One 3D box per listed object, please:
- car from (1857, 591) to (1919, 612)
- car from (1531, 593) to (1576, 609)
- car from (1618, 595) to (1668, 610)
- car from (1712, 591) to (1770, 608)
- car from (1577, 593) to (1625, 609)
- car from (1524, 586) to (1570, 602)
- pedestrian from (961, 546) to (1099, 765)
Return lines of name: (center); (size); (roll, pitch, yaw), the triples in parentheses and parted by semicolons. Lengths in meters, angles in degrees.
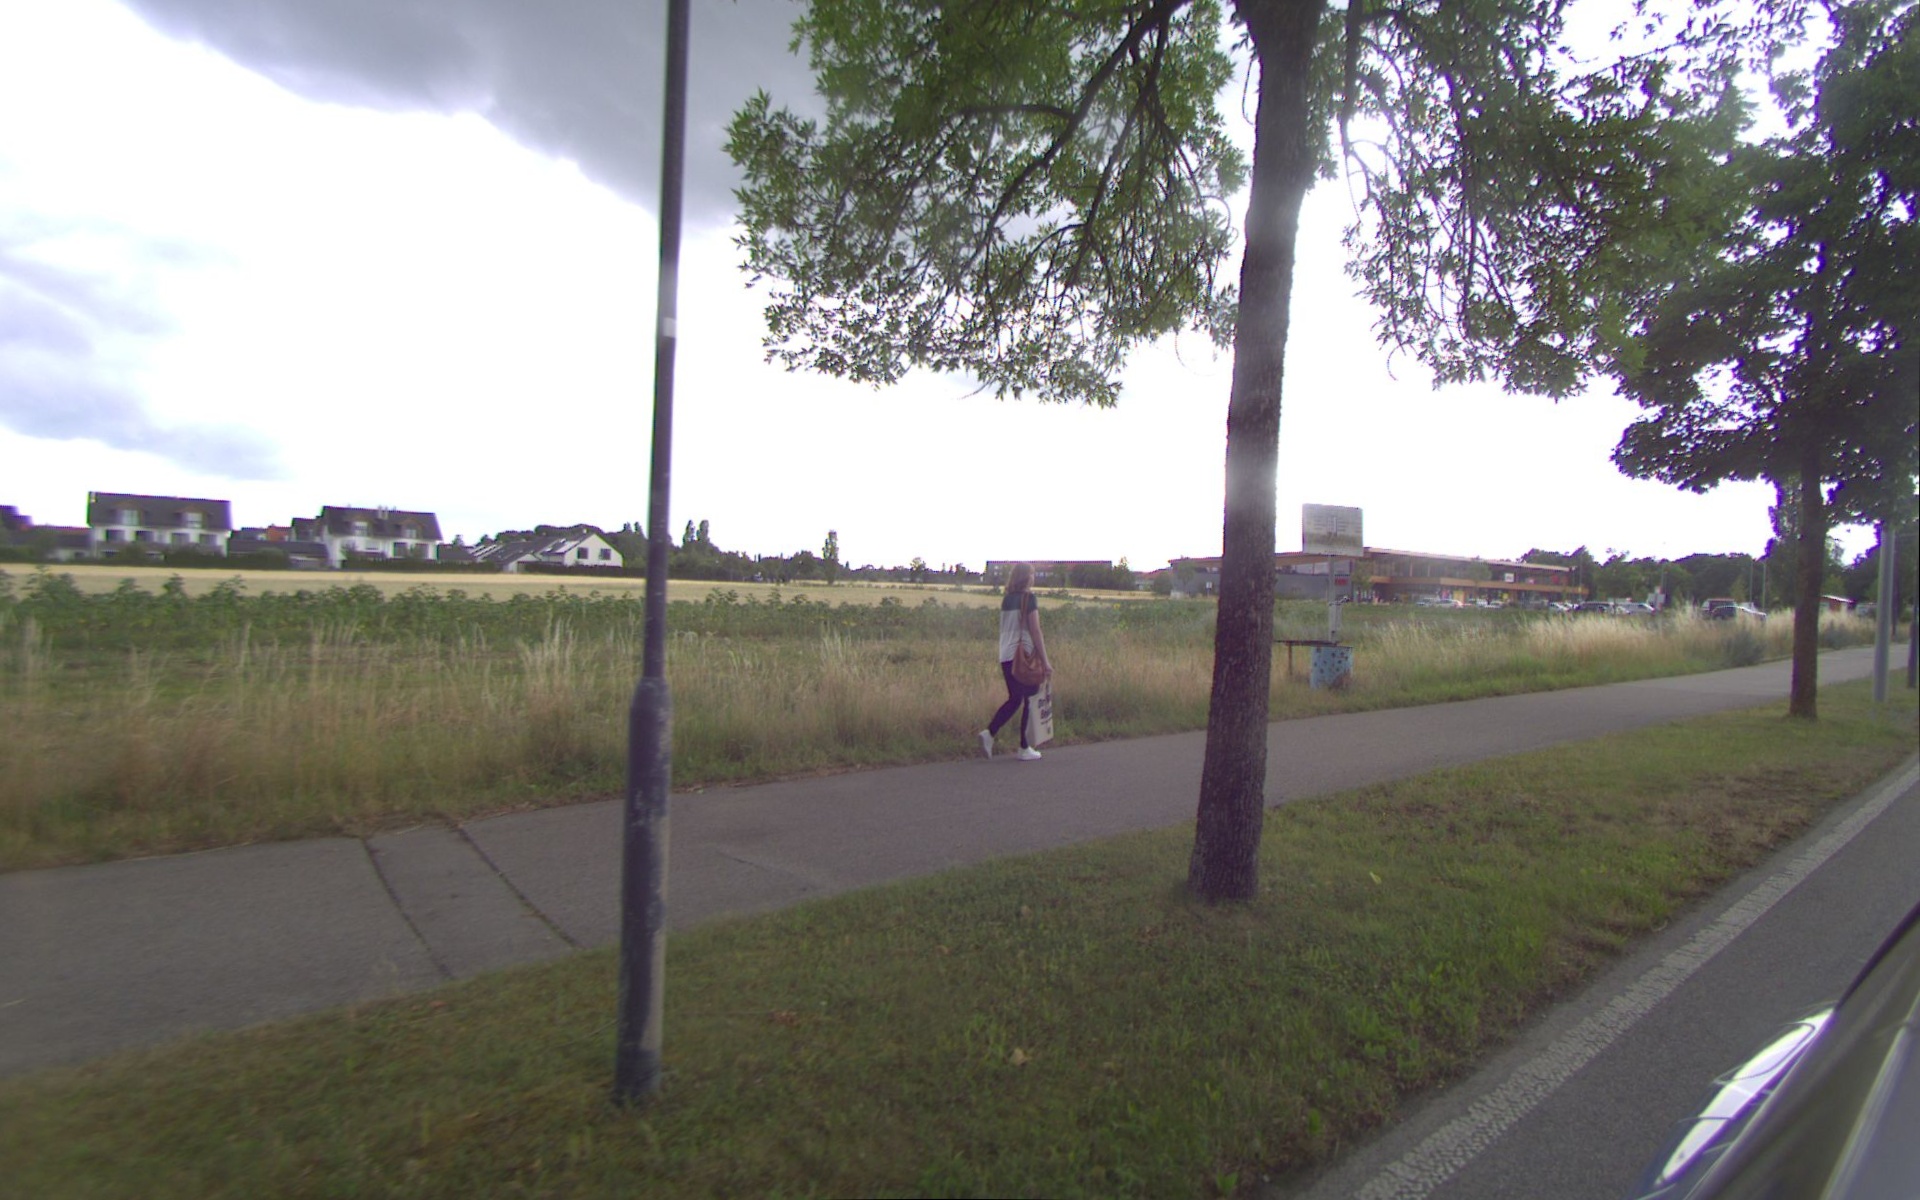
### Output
car: (89.838, 0.139, 97.104); (1.967, 2.039, 5.512); (0, 0, -45)
car: (79.939, 0.127, 136.316); (4.842, 2.039, 1.968); (0, 0, 44)
car: (93.308, 0.317, 138.303); (1.967, 2.039, 5.512); (0, 0, -45)
car: (97.077, -0.093, 125.913); (1.967, 2.039, 5.512); (0, 0, -45)
car: (81.713, 0.130, 129.011); (4.842, 2.039, 1.968); (0, 0, 44)
car: (76.067, -0.823, 131.188); (4.842, 2.039, 1.968); (0, 0, 44)
pedestrian: (0.603, 0.447, 8.800); (0.853, 1.777, 0.840); (1, 0, -34)
